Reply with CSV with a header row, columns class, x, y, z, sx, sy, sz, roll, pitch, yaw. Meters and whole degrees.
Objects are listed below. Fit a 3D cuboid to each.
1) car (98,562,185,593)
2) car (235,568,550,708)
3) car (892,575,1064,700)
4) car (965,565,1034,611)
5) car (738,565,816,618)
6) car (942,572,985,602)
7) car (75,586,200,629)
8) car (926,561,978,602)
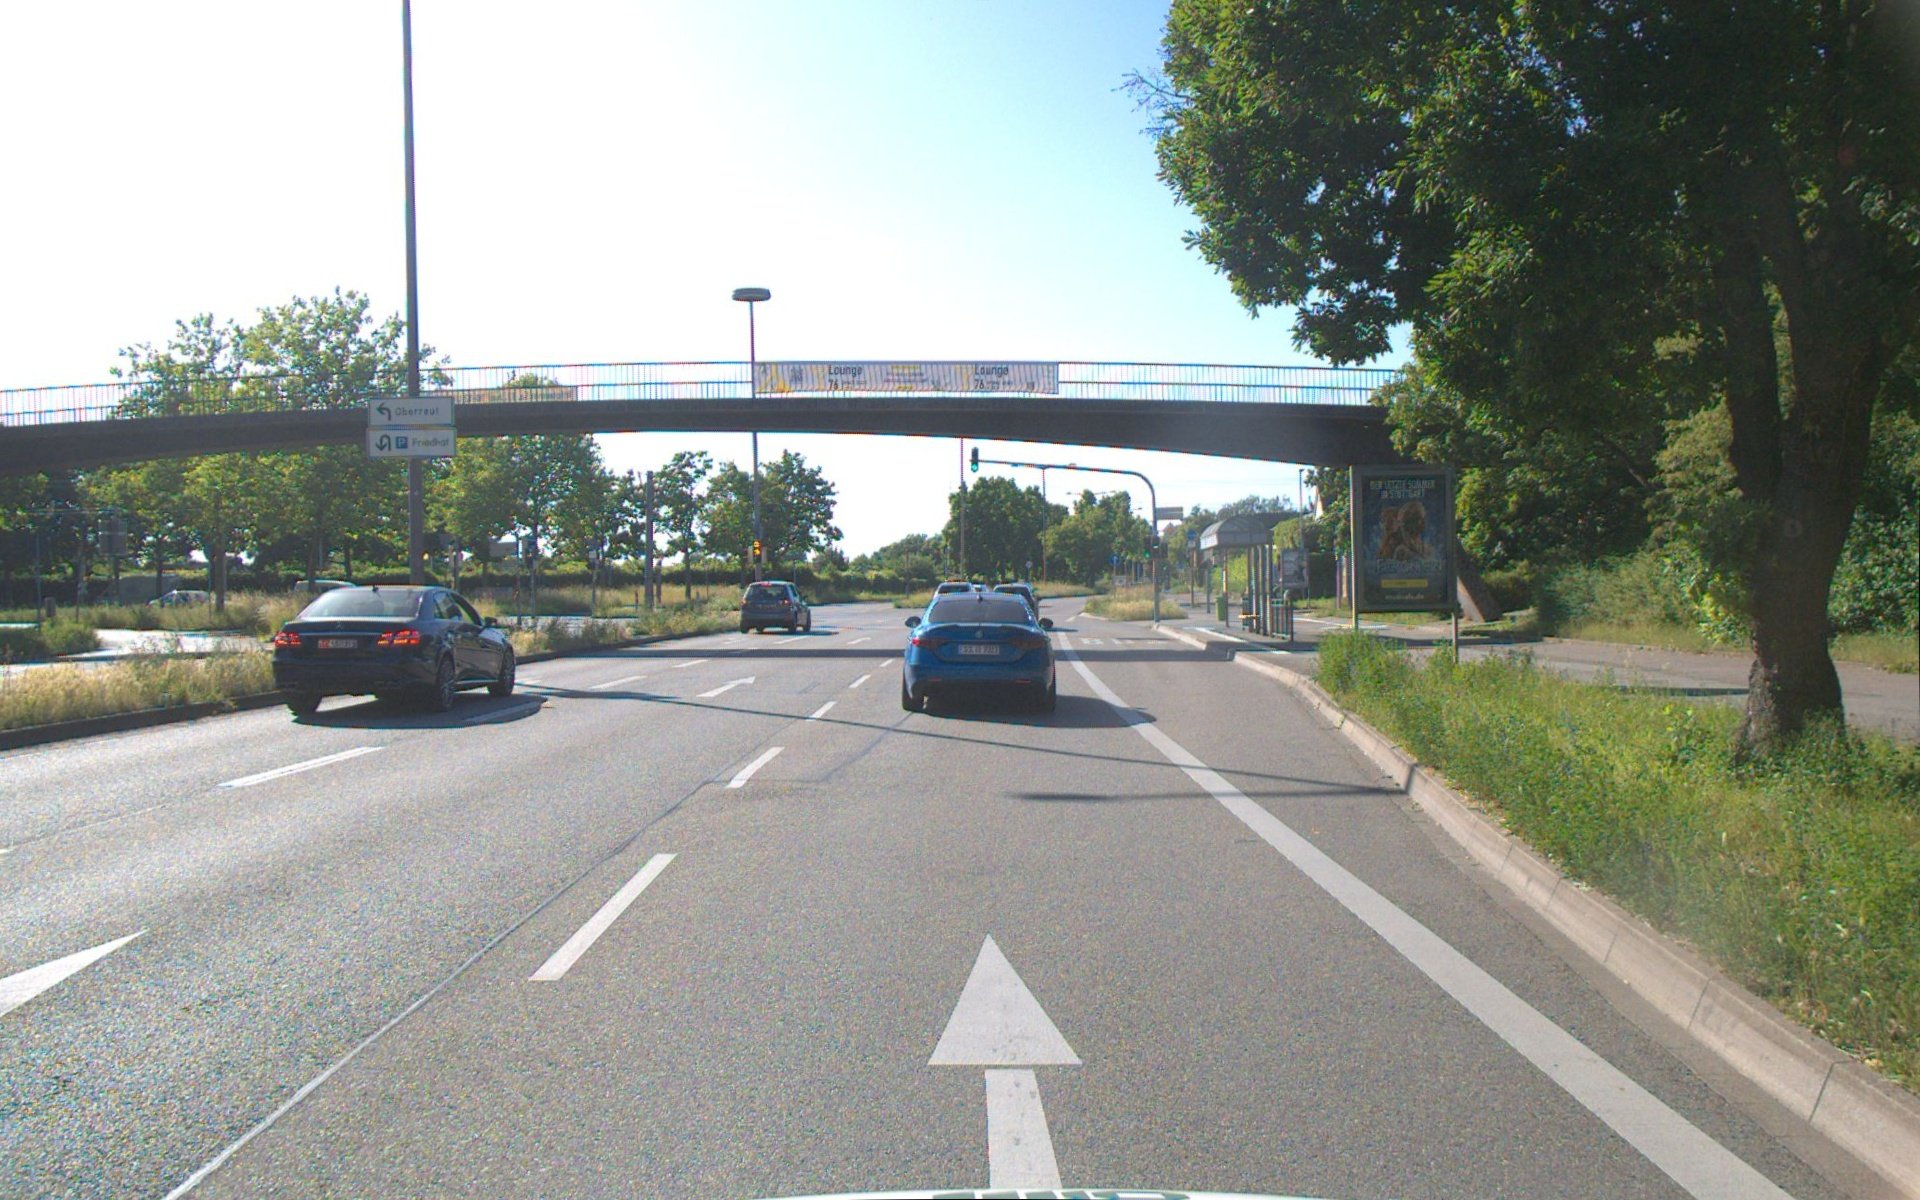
class,x,y,z,sx,sy,sz,roll,pitch,yaw
car,-54.147,-1.478,109.441,4.689,2.049,1.999,0,0,-2
car,-6.885,0.384,20.720,1.918,1.508,4.921,-1,1,4
car,0.123,0.416,21.155,1.846,1.431,4.220,0,0,-4
car,1.276,-0.394,55.382,1.846,1.479,4.522,0,0,-4
car,-5.724,-0.275,52.129,1.759,1.583,3.732,0,0,4
car,0.153,-0.650,84.097,1.846,1.479,4.522,0,0,-4
car,-32.929,0.297,66.232,4.215,1.679,2.001,0,0,16
car,-0.372,-0.769,68.207,1.675,1.626,4.218,0,0,-7
